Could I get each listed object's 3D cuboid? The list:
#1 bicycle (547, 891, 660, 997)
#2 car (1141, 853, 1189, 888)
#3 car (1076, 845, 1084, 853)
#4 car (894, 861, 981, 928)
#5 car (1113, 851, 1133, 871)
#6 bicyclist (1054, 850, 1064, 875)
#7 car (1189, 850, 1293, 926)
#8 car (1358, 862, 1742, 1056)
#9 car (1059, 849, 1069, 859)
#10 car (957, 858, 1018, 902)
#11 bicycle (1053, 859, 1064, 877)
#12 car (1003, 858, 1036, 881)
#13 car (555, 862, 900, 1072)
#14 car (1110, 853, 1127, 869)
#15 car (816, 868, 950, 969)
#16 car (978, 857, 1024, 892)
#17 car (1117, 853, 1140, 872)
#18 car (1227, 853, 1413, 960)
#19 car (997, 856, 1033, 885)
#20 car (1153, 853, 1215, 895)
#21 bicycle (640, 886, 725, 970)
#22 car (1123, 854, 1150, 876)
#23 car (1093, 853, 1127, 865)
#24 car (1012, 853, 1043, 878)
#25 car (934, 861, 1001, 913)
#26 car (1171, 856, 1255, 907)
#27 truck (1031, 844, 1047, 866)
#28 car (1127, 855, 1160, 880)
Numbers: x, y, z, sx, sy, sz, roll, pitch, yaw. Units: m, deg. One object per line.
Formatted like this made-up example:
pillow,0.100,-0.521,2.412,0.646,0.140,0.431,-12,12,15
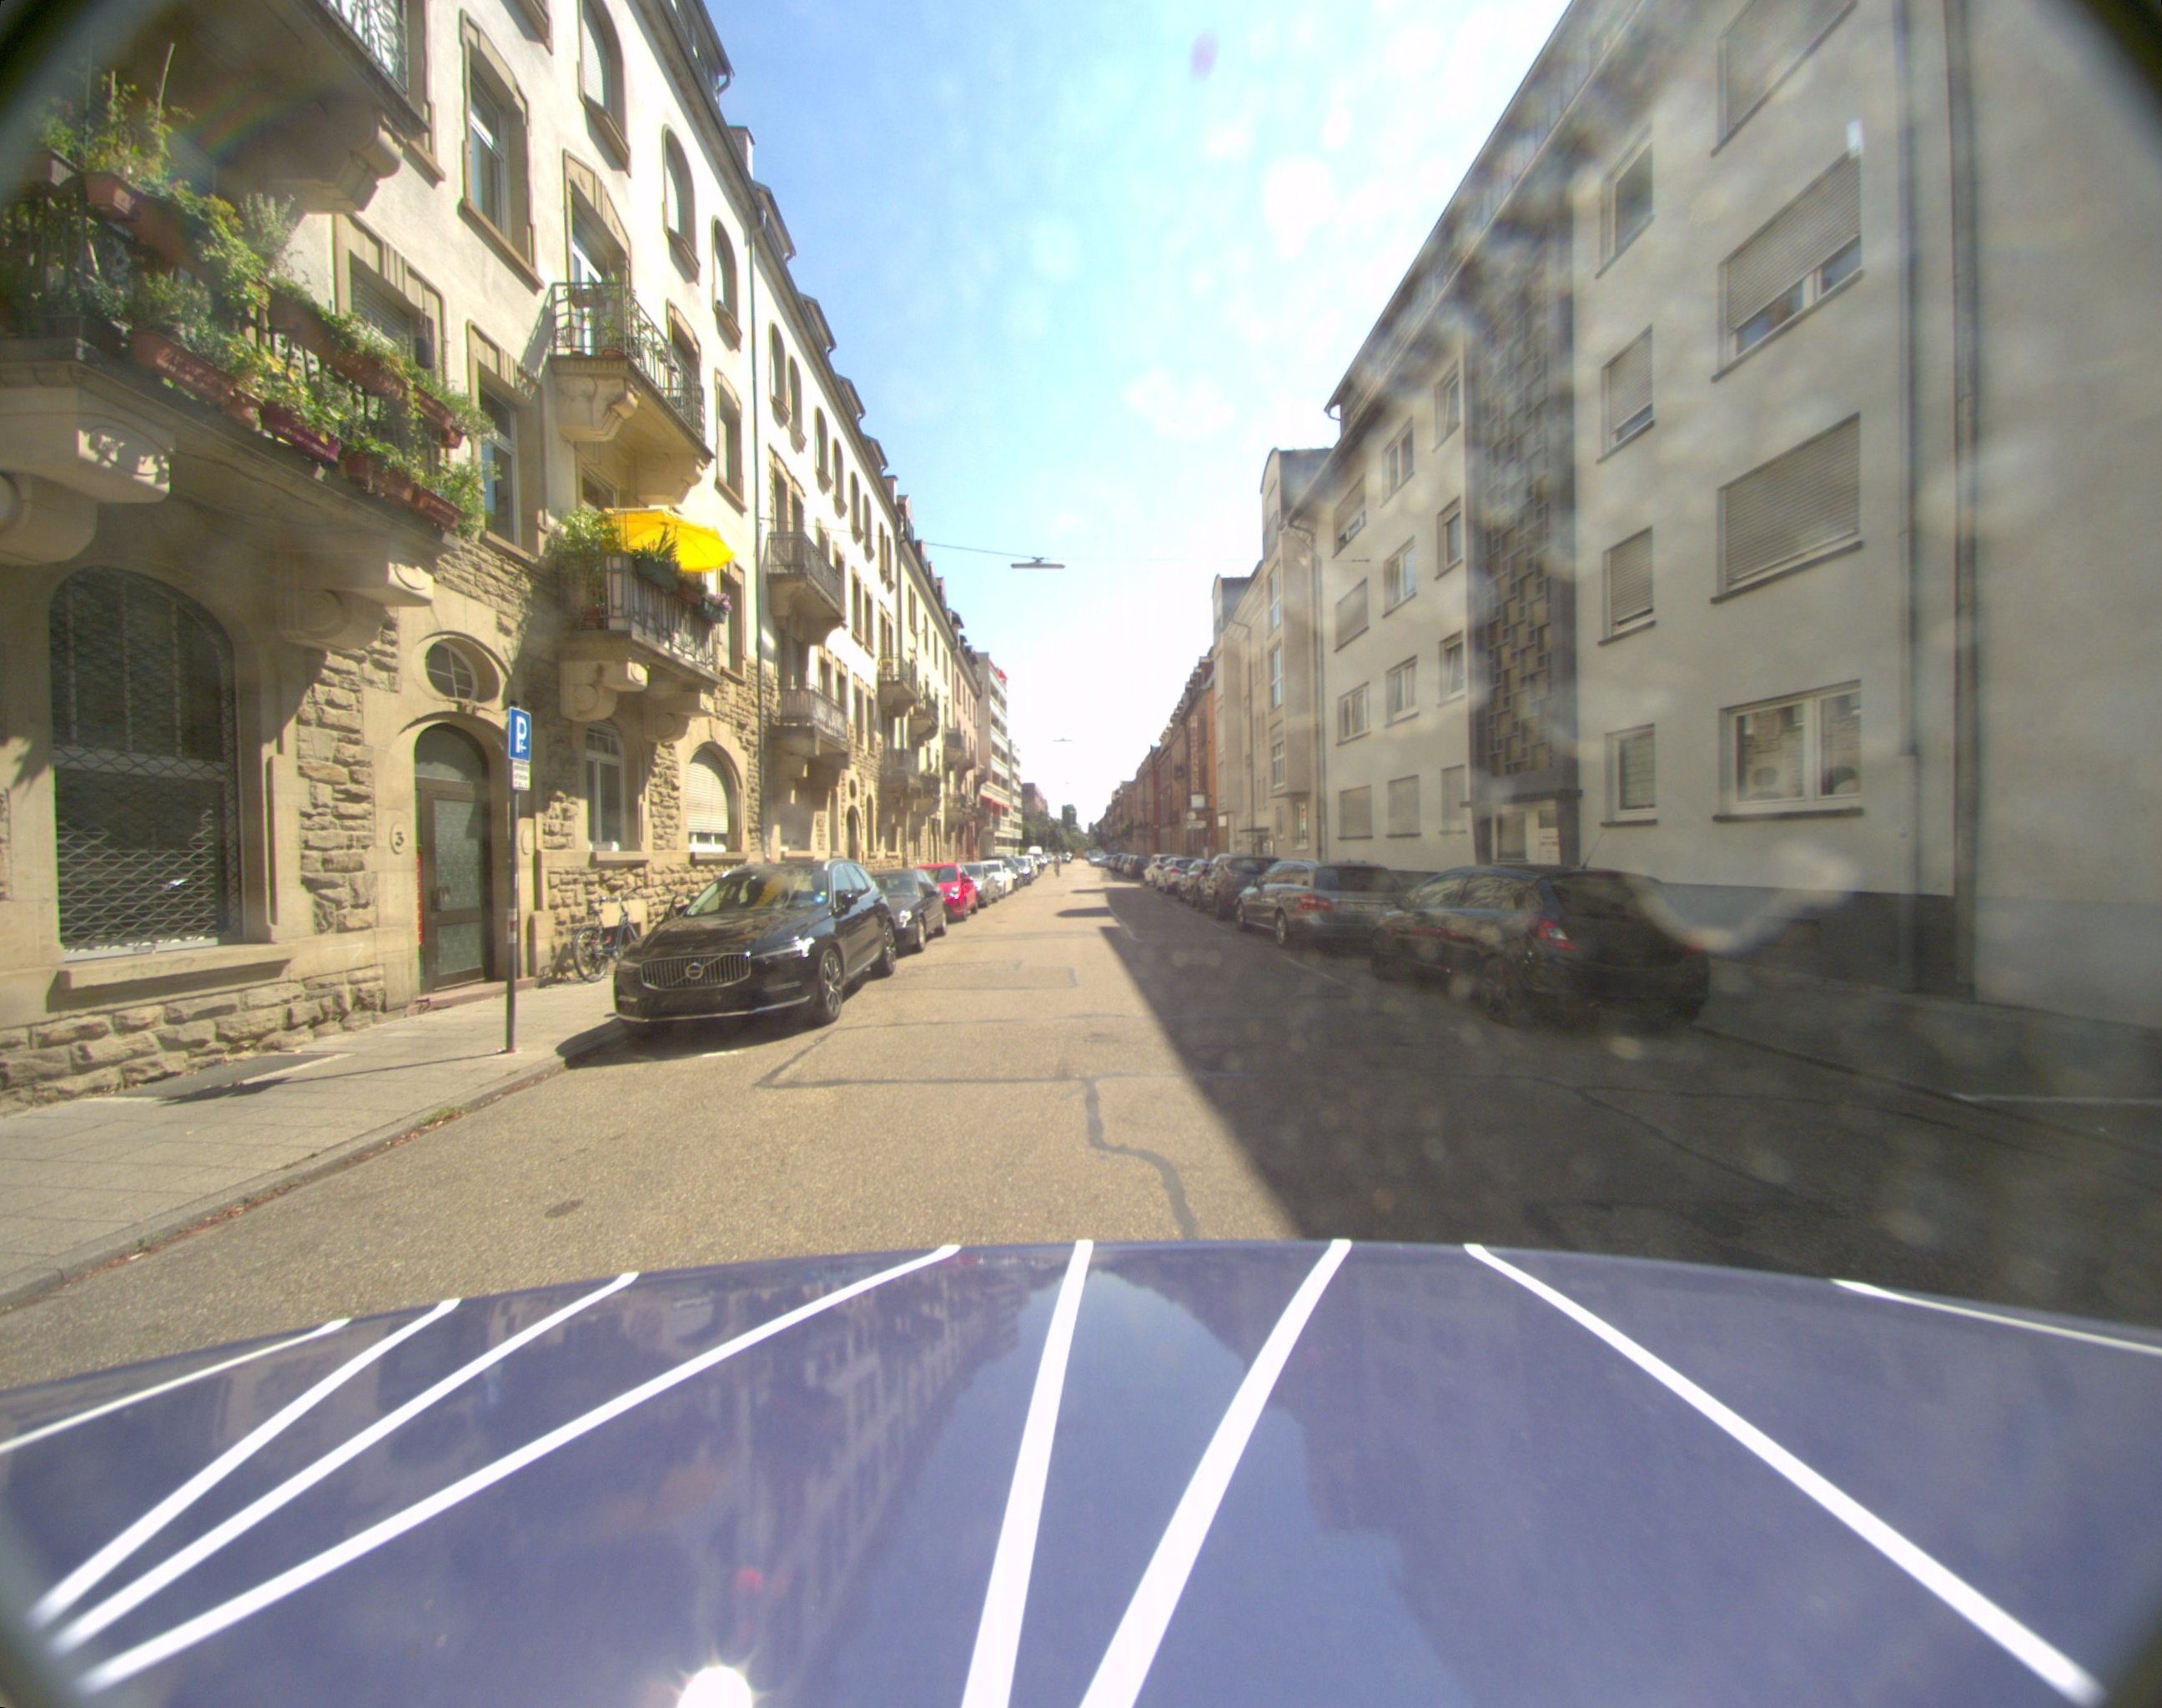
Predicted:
bicycle,-6.388,1.155,10.265,0.385,1.201,1.775,-1,1,0
car,4.165,0.794,38.046,1.633,1.540,3.851,3,0,-4
car,-0.284,-1.186,188.535,1.785,2.002,4.000,-1,1,2
car,-3.685,0.996,20.099,1.574,1.444,3.842,-3,1,-1
car,3.822,0.605,69.463,1.450,1.633,3.525,3,1,-2
bicyclist,-1.538,0.583,52.475,0.645,1.640,0.622,-1,1,0
car,3.842,0.753,18.931,1.608,1.634,3.976,1,1,-2
car,4.522,0.877,8.115,1.571,1.483,3.892,1,1,-2
car,-2.652,-0.047,119.255,1.625,1.601,3.596,-1,1,-1
car,-3.691,0.984,30.636,1.720,1.444,4.597,-3,1,1
bicycle,-1.531,0.944,52.278,0.671,1.169,2.094,-1,1,0
car,-3.811,0.926,47.779,1.791,1.350,4.351,-1,0,-1
car,-3.466,0.960,8.605,1.838,1.558,4.603,-3,1,-3
car,3.669,0.687,74.398,1.450,1.391,3.525,3,0,0
car,-3.428,1.042,13.844,1.516,1.390,3.971,-3,1,-3
car,-3.724,0.915,36.177,1.741,1.449,4.667,-1,1,-1
car,3.931,0.706,63.267,1.450,1.464,3.524,3,0,-3
car,3.968,0.775,13.509,1.661,1.510,4.670,1,1,-2
car,-3.597,0.871,42.138,1.828,1.423,4.488,-2,0,-3
car,4.119,0.760,31.024,1.735,1.486,4.347,2,1,-2
bicycle,-6.525,1.168,12.542,0.442,1.201,1.775,-1,1,0
car,3.926,0.752,54.052,1.632,1.421,3.678,3,0,1
car,3.463,0.570,90.945,3.997,1.422,1.678,-1,1,0
car,-3.665,0.795,52.819,1.652,1.613,4.092,-1,1,3
car,-3.690,1.023,25.267,1.593,1.444,3.855,-3,1,-1
car,4.088,0.803,24.213,1.770,1.385,4.347,1,1,-2
truck,-5.511,0.081,99.260,1.869,2.715,4.507,-1,1,-1
car,3.987,0.842,48.837,1.782,1.421,3.836,3,0,1
